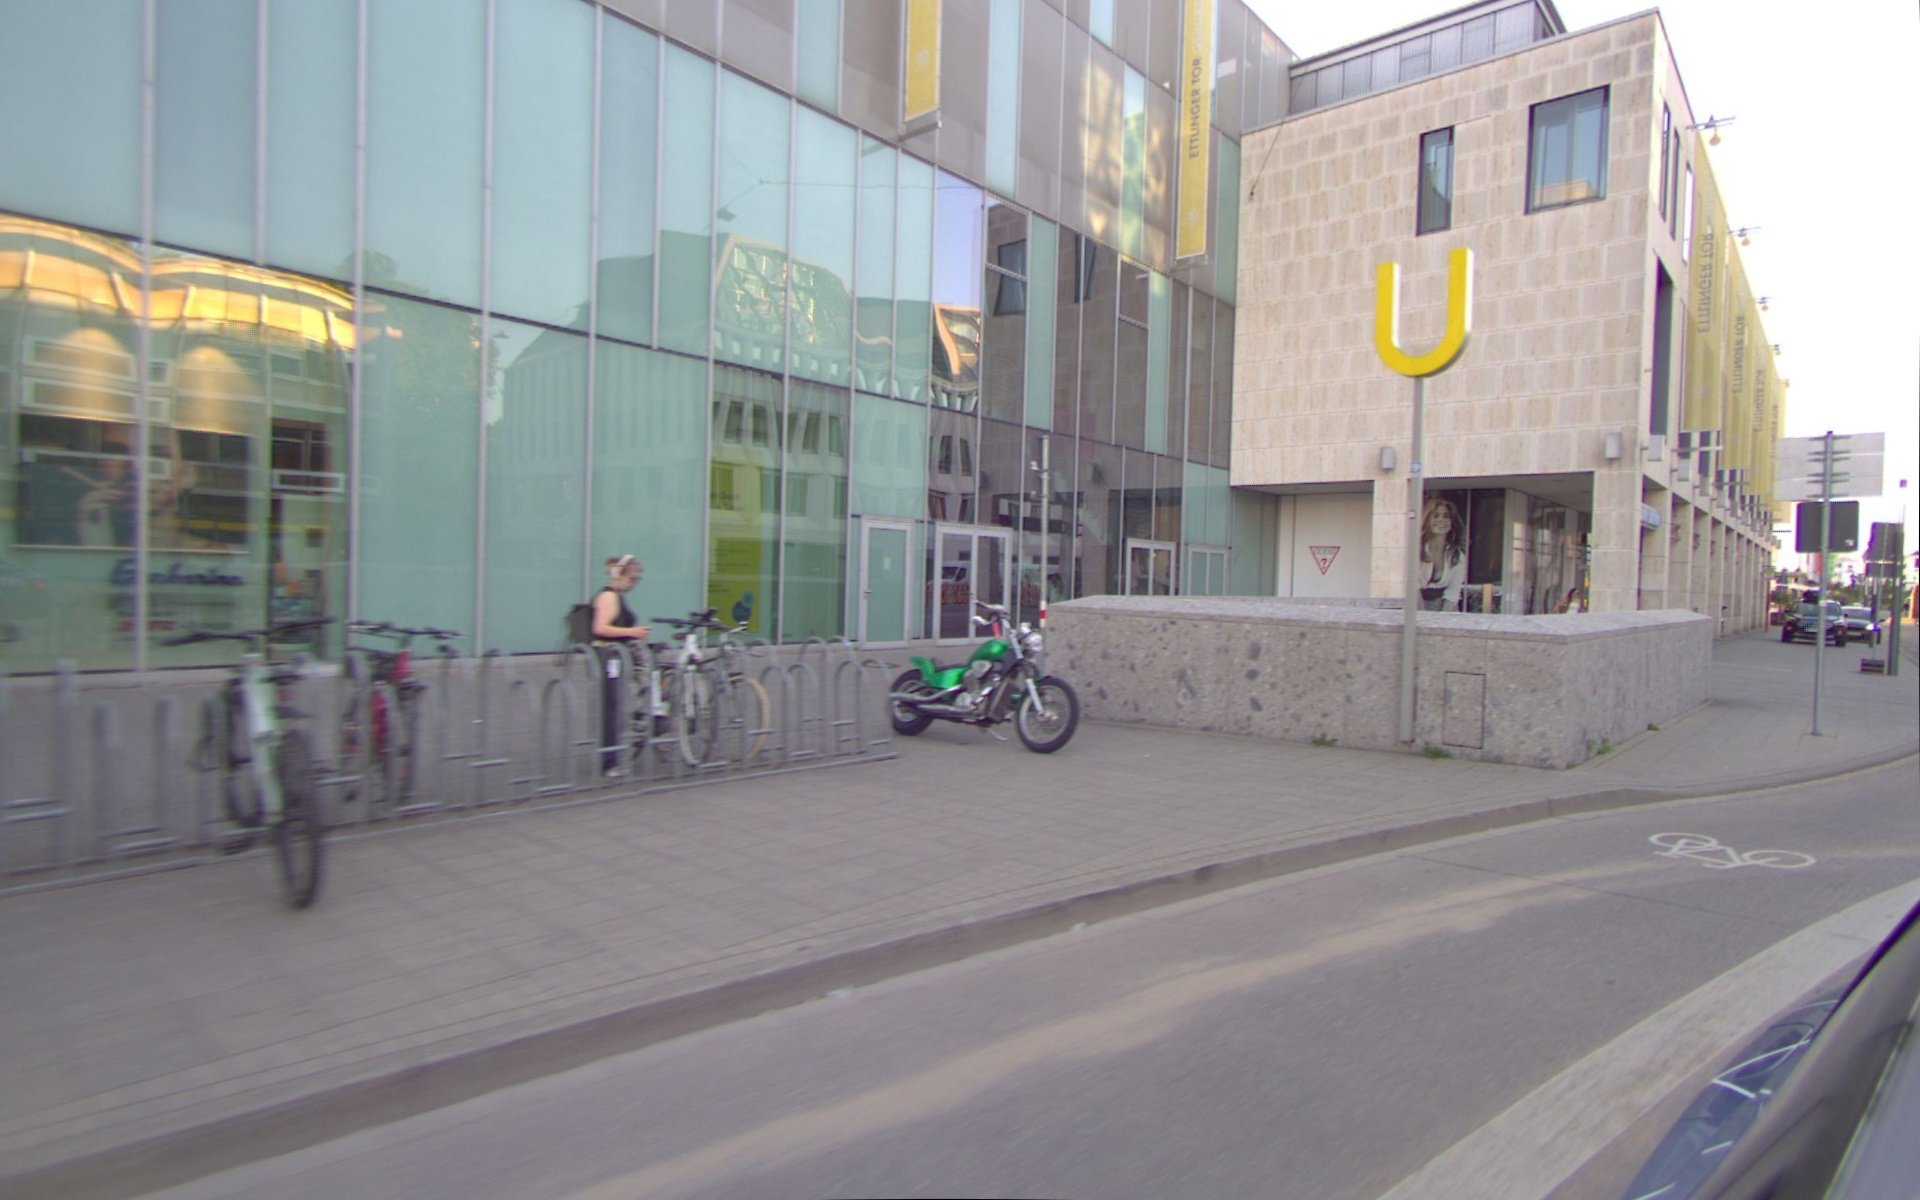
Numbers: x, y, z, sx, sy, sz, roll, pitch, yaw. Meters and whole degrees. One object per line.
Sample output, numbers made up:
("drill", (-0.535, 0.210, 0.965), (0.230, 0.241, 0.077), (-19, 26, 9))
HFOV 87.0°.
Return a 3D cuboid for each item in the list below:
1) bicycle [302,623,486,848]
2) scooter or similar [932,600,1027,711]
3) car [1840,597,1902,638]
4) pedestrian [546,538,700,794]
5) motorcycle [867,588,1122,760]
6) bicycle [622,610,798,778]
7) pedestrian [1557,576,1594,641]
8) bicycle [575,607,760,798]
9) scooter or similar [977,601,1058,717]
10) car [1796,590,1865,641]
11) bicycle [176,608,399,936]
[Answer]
("bicycle", (-3.529, 0.729, 6.226), (0.546, 1.144, 1.990), (0, -1, -42))
("scooter or similar", (0.242, 0.646, 12.101), (1.097, 1.273, 0.398), (1, 1, 4))
("car", (39.081, 0.698, 43.462), (1.795, 1.508, 4.129), (7, 5, 41))
("pedestrian", (-2.512, 0.440, 7.521), (0.805, 1.757, 0.837), (1, 1, -40))
("motorcycle", (0.270, 0.598, 9.448), (2.295, 1.349, 0.894), (3, 2, 40))
("bicycle", (-2.116, 0.703, 8.354), (0.507, 1.143, 1.991), (1, 2, -42))
("pedestrian", (15.302, 0.205, 25.152), (0.633, 1.561, 0.763), (2, 1, 41))
("bicycle", (-2.281, 0.695, 7.715), (0.507, 1.193, 1.991), (1, 2, -42))
("scooter or similar", (0.668, 0.657, 11.665), (0.853, 1.273, 0.399), (0, 1, -37))
("car", (32.605, 0.530, 37.892), (1.768, 1.657, 3.996), (7, 5, 41))
("bicycle", (-3.205, 0.655, 4.732), (0.561, 1.143, 1.991), (1, 2, -42))
